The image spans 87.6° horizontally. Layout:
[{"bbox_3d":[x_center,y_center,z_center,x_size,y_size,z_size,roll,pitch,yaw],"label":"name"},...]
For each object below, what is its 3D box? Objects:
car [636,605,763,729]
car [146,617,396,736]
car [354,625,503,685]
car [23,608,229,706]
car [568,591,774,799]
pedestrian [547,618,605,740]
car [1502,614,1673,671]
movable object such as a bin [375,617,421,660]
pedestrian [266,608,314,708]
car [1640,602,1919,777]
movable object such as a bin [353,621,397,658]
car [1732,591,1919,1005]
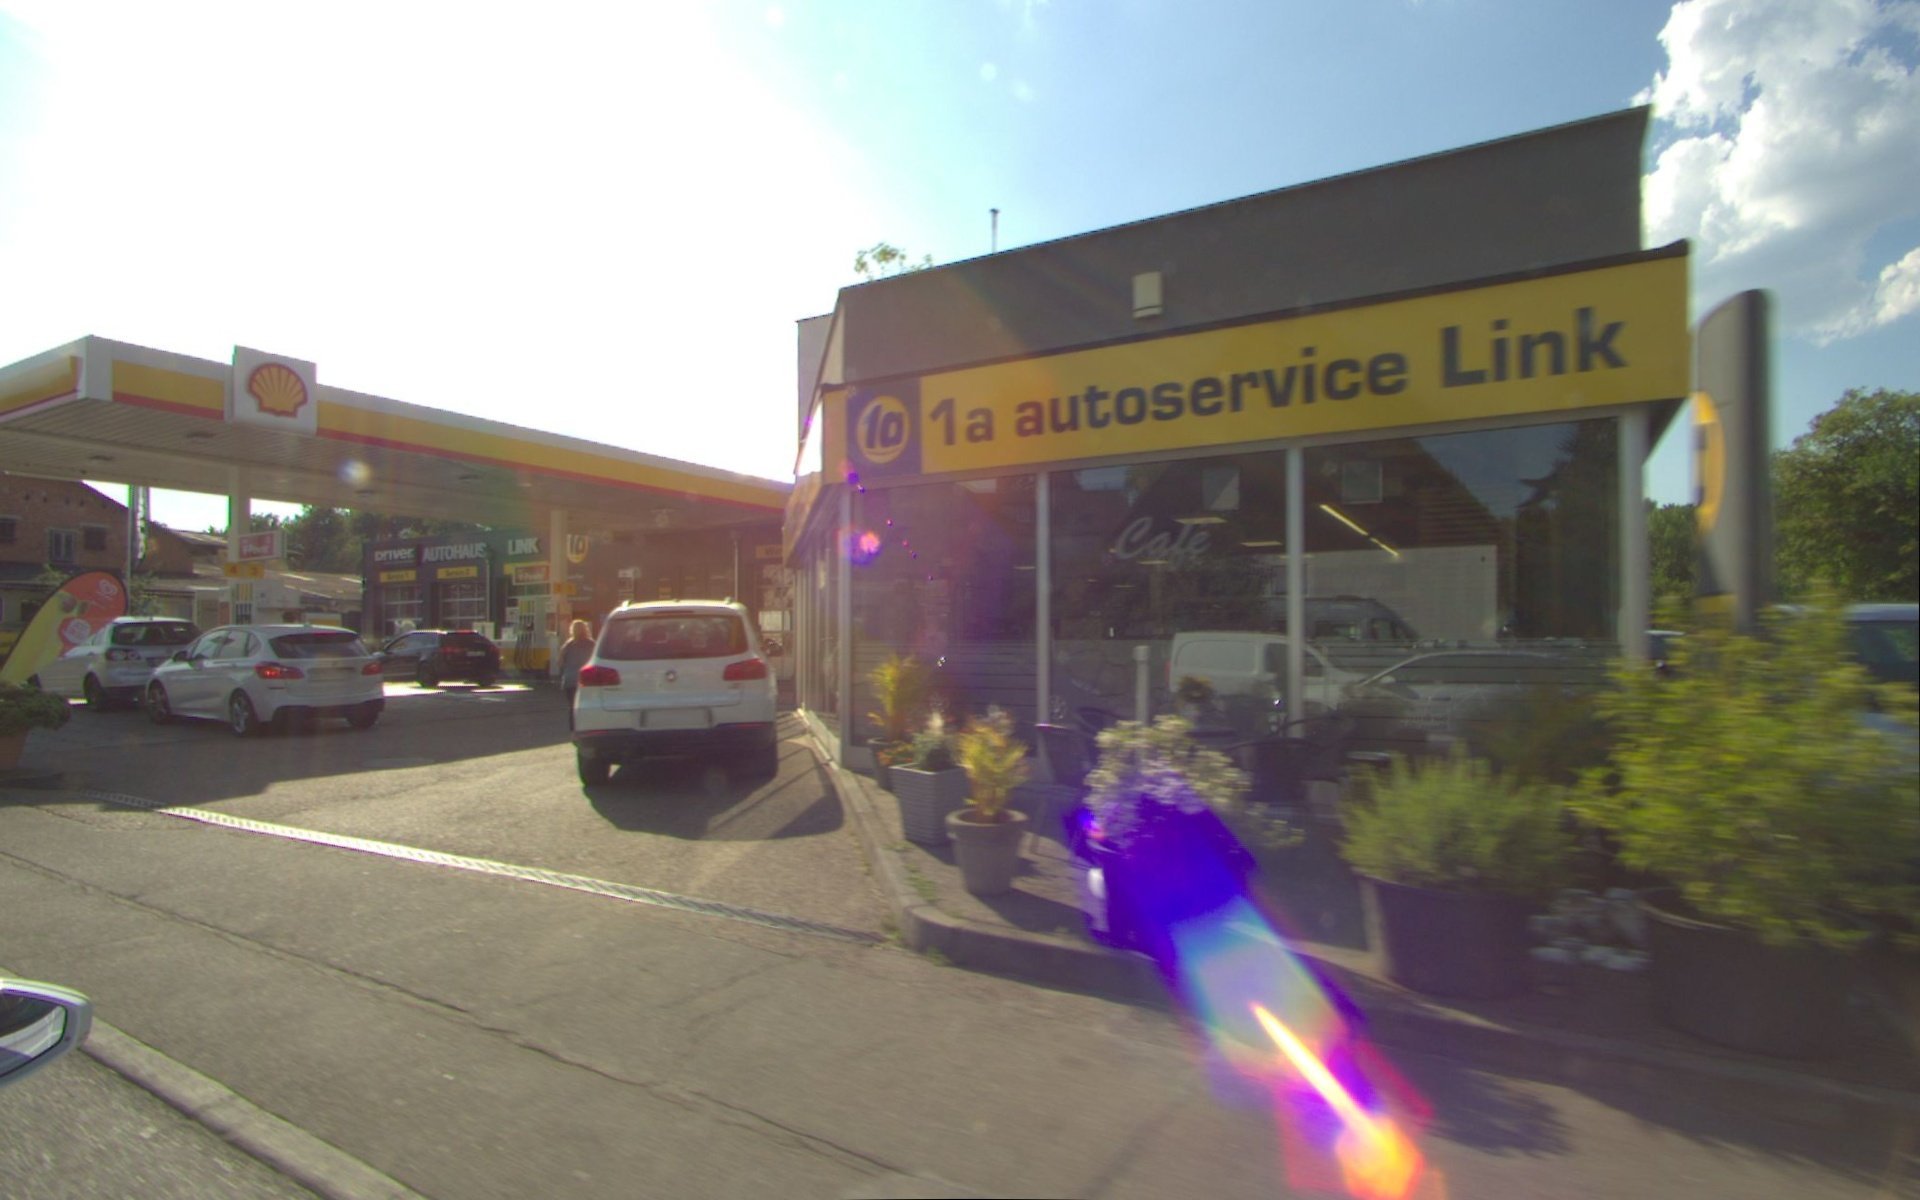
[{"bbox_3d":[-3.922,0.969,15.556,1.646,1.654,3.685,-1,-2,-11],"label":"car"},{"bbox_3d":[-10.534,1.069,15.255,3.940,1.597,1.669,-1,-1,31],"label":"car"},{"bbox_3d":[-13.523,1.410,25.424,3.941,1.418,1.535,-3,-2,31],"label":"car"},{"bbox_3d":[-15.086,0.960,18.074,3.940,1.597,1.669,-1,-1,31],"label":"car"},{"bbox_3d":[-2.802,0.810,10.427,1.646,1.696,4.075,-1,-1,-11],"label":"car"},{"bbox_3d":[-4.833,0.986,12.623,0.613,1.498,0.430,0,-1,-12],"label":"pedestrian"},{"bbox_3d":[17.509,1.177,28.155,3.918,1.417,1.662,1,-1,28],"label":"car"},{"bbox_3d":[-20.822,1.427,37.109,1.191,1.549,0.987,0,-1,30],"label":"movable object such as a bin"},{"bbox_3d":[-11.631,1.005,17.387,0.526,1.691,0.500,-1,-2,31],"label":"pedestrian"},{"bbox_3d":[8.593,0.842,10.716,1.689,1.486,3.904,1,-1,27],"label":"car"},{"bbox_3d":[-22.172,1.501,37.977,1.109,1.393,0.988,0,-1,25],"label":"movable object such as a bin"},{"bbox_3d":[5.172,0.789,5.126,1.505,1.551,3.981,-1,-2,32],"label":"car"}]
